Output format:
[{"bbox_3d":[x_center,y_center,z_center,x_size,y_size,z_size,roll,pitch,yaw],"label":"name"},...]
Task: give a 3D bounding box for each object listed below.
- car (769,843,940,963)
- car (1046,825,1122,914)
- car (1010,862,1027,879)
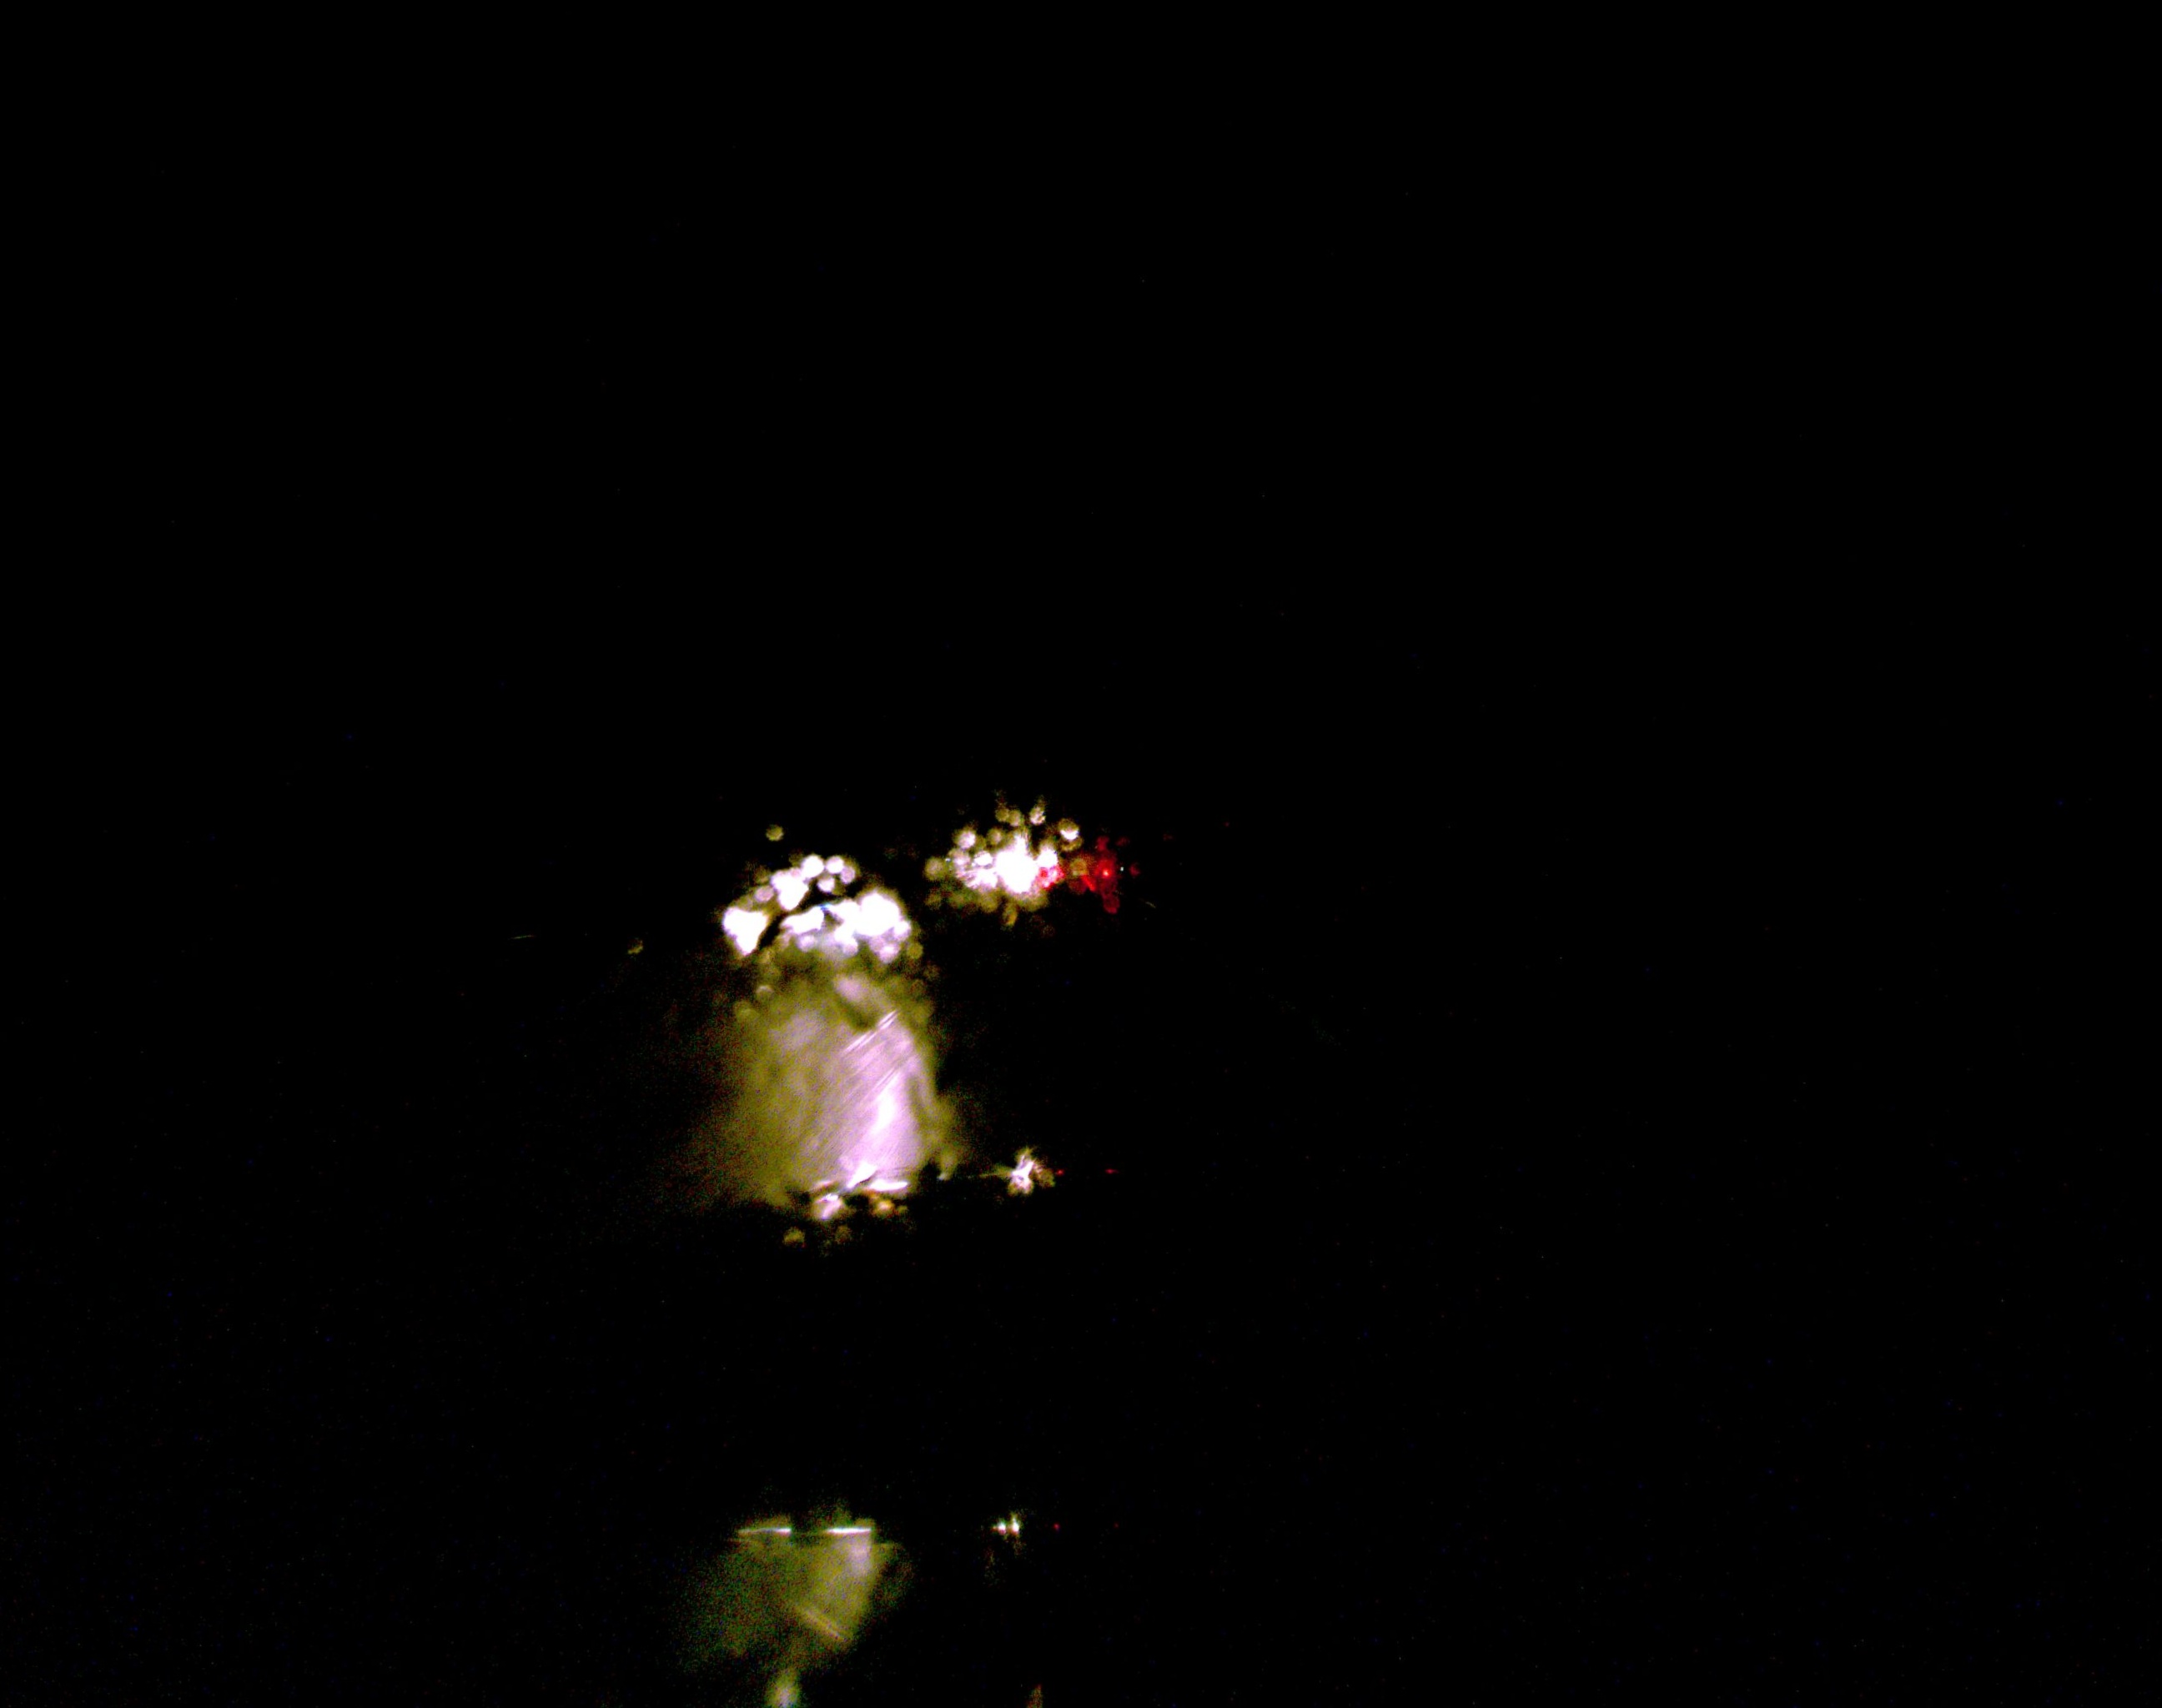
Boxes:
[{"bbox_3d":[-3.376,0.649,12.805,1.558,1.525,3.486,-4,0,1],"label":"car"},{"bbox_3d":[0.011,0.446,26.055,2.175,2.557,4.504,1,0,-2],"label":"car"},{"bbox_3d":[-7.925,2.063,103.356,1.990,2.013,4.448,-2,0,-5],"label":"car"}]
